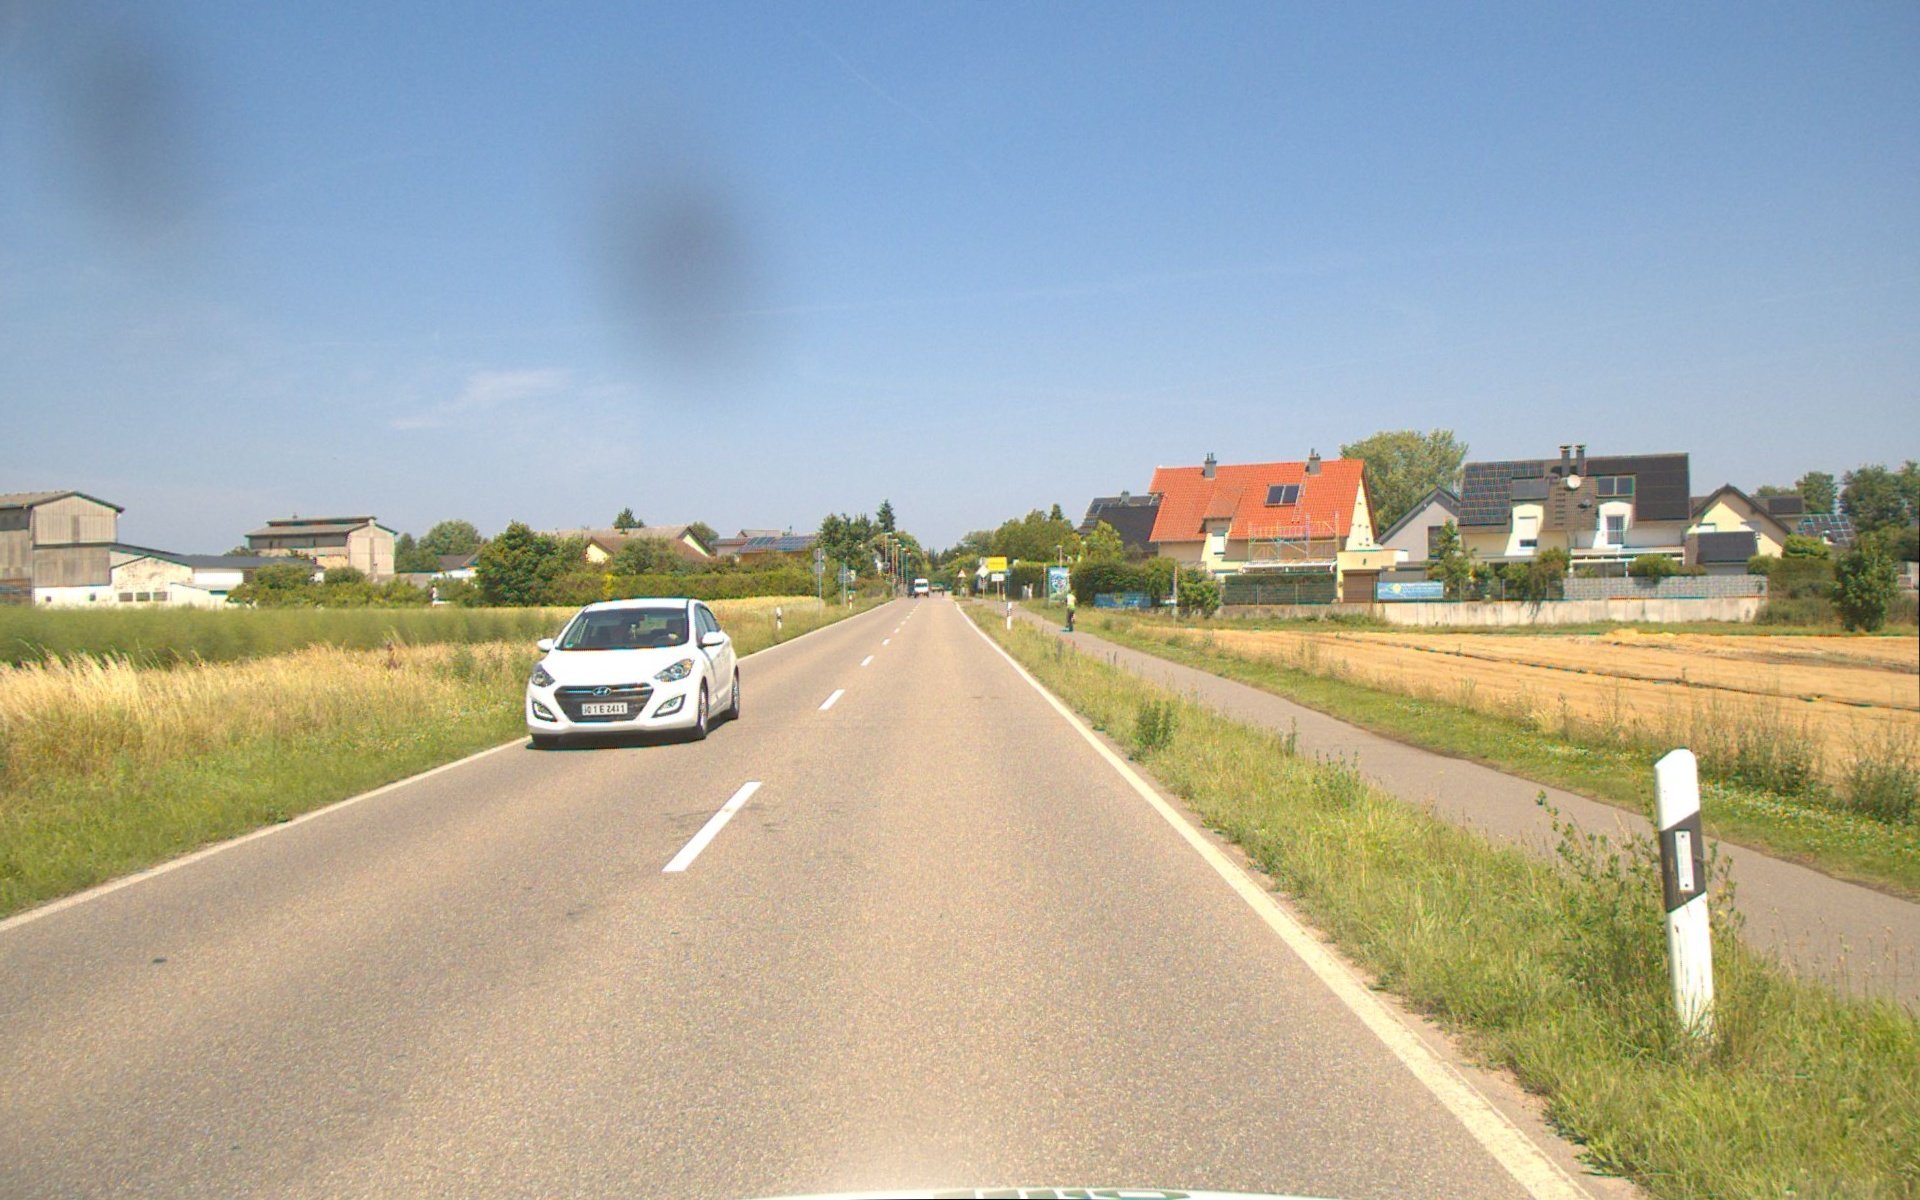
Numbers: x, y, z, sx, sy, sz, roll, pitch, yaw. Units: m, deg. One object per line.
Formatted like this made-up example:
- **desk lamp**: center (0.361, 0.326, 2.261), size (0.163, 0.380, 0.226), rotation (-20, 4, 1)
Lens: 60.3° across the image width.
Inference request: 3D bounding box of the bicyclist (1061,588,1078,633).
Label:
- **bicyclist**: center (4.751, 0.458, 71.643), size (0.632, 1.922, 0.861), rotation (0, 1, -2)

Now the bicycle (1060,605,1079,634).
- **bicycle**: center (4.743, 0.823, 71.723), size (0.598, 1.179, 2.274), rotation (0, 1, -1)

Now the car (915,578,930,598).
- **car**: center (-5.121, -1.701, 226.301), size (2.035, 2.586, 5.872), rotation (-2, 1, -1)

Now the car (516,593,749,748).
- **car**: center (-3.455, 0.677, 18.207), size (1.755, 1.434, 4.185), rotation (-2, 0, -1)
